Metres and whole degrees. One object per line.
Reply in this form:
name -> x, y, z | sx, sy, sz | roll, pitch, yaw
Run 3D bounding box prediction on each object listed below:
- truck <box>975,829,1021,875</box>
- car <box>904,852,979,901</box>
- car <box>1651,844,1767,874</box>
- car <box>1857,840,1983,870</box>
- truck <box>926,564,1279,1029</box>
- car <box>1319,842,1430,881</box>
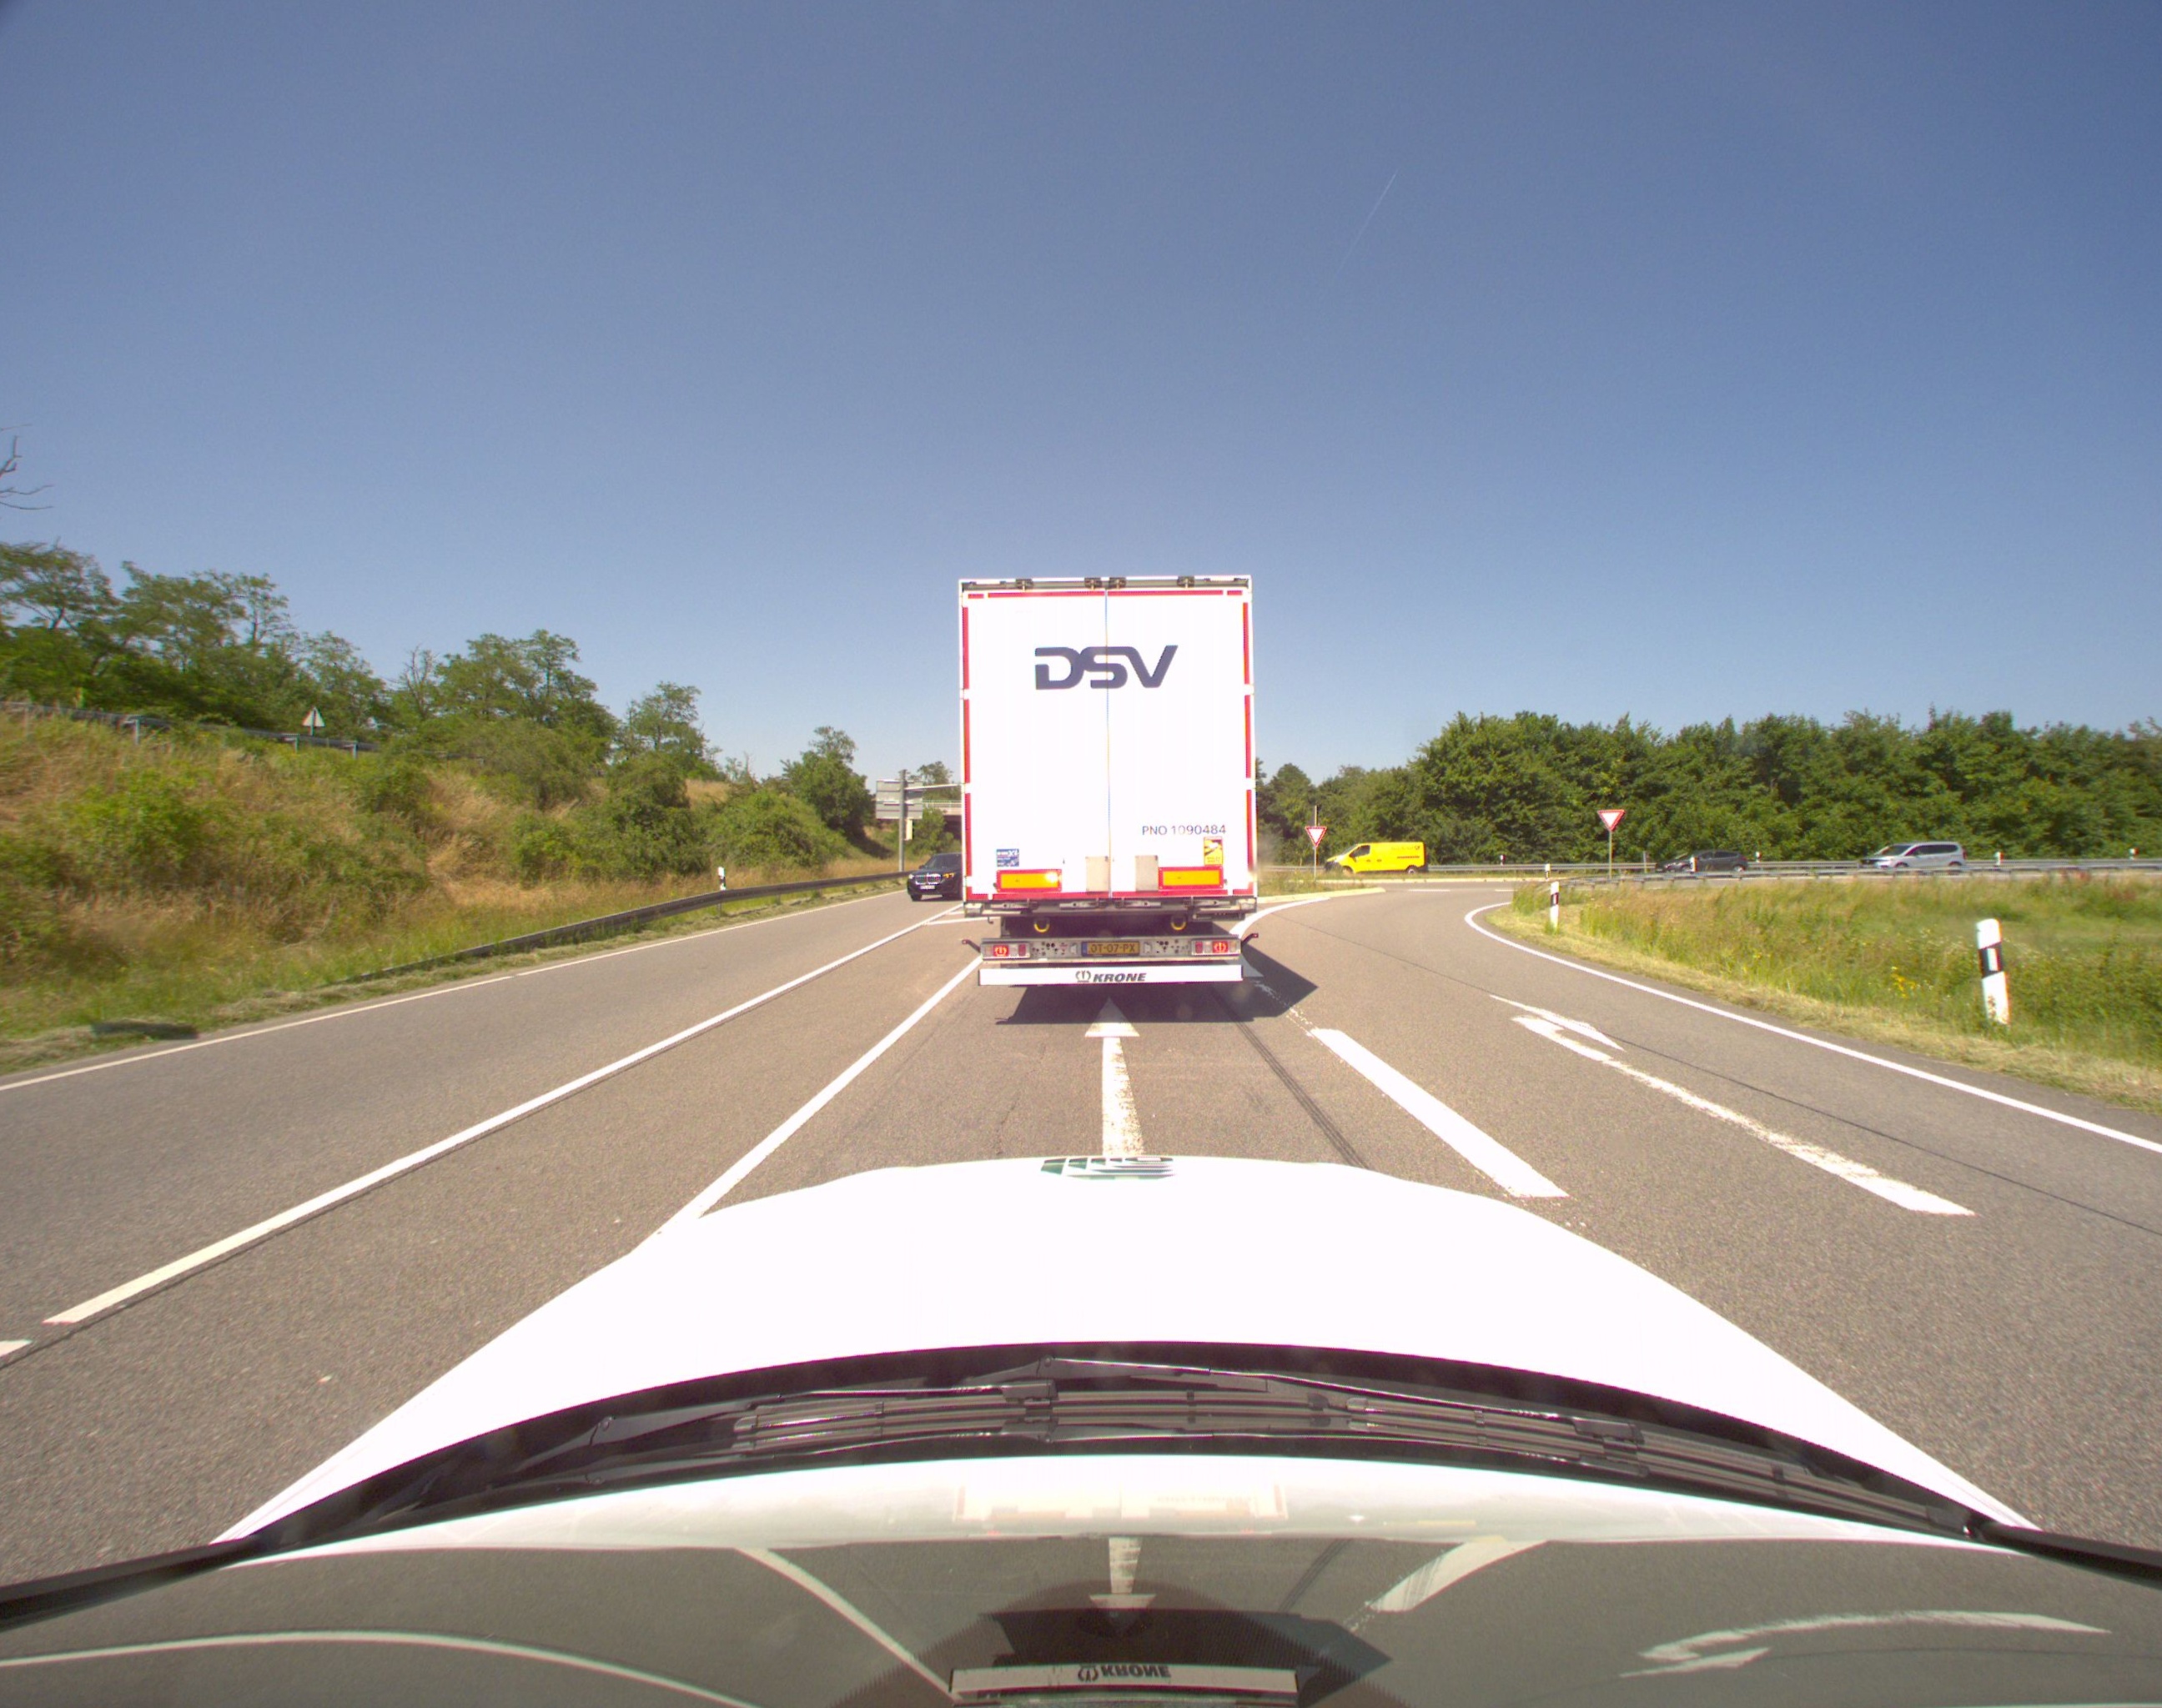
truck -> -6.695, -0.098, 66.393 | 2.634, 3.538, 7.893 | -1, -1, 2
car -> -4.897, 0.742, 29.158 | 1.755, 1.598, 4.503 | -1, 0, 2
car -> 33.295, 0.287, 43.282 | 4.662, 1.514, 1.855 | -1, -1, 3
car -> 44.373, 0.072, 43.150 | 4.665, 1.514, 1.854 | -1, -1, 1
truck -> 0.291, -0.476, 11.905 | 2.977, 3.942, 9.877 | -1, 0, 1
car -> 15.840, 0.420, 44.192 | 5.297, 2.014, 2.003 | -1, -1, 5
